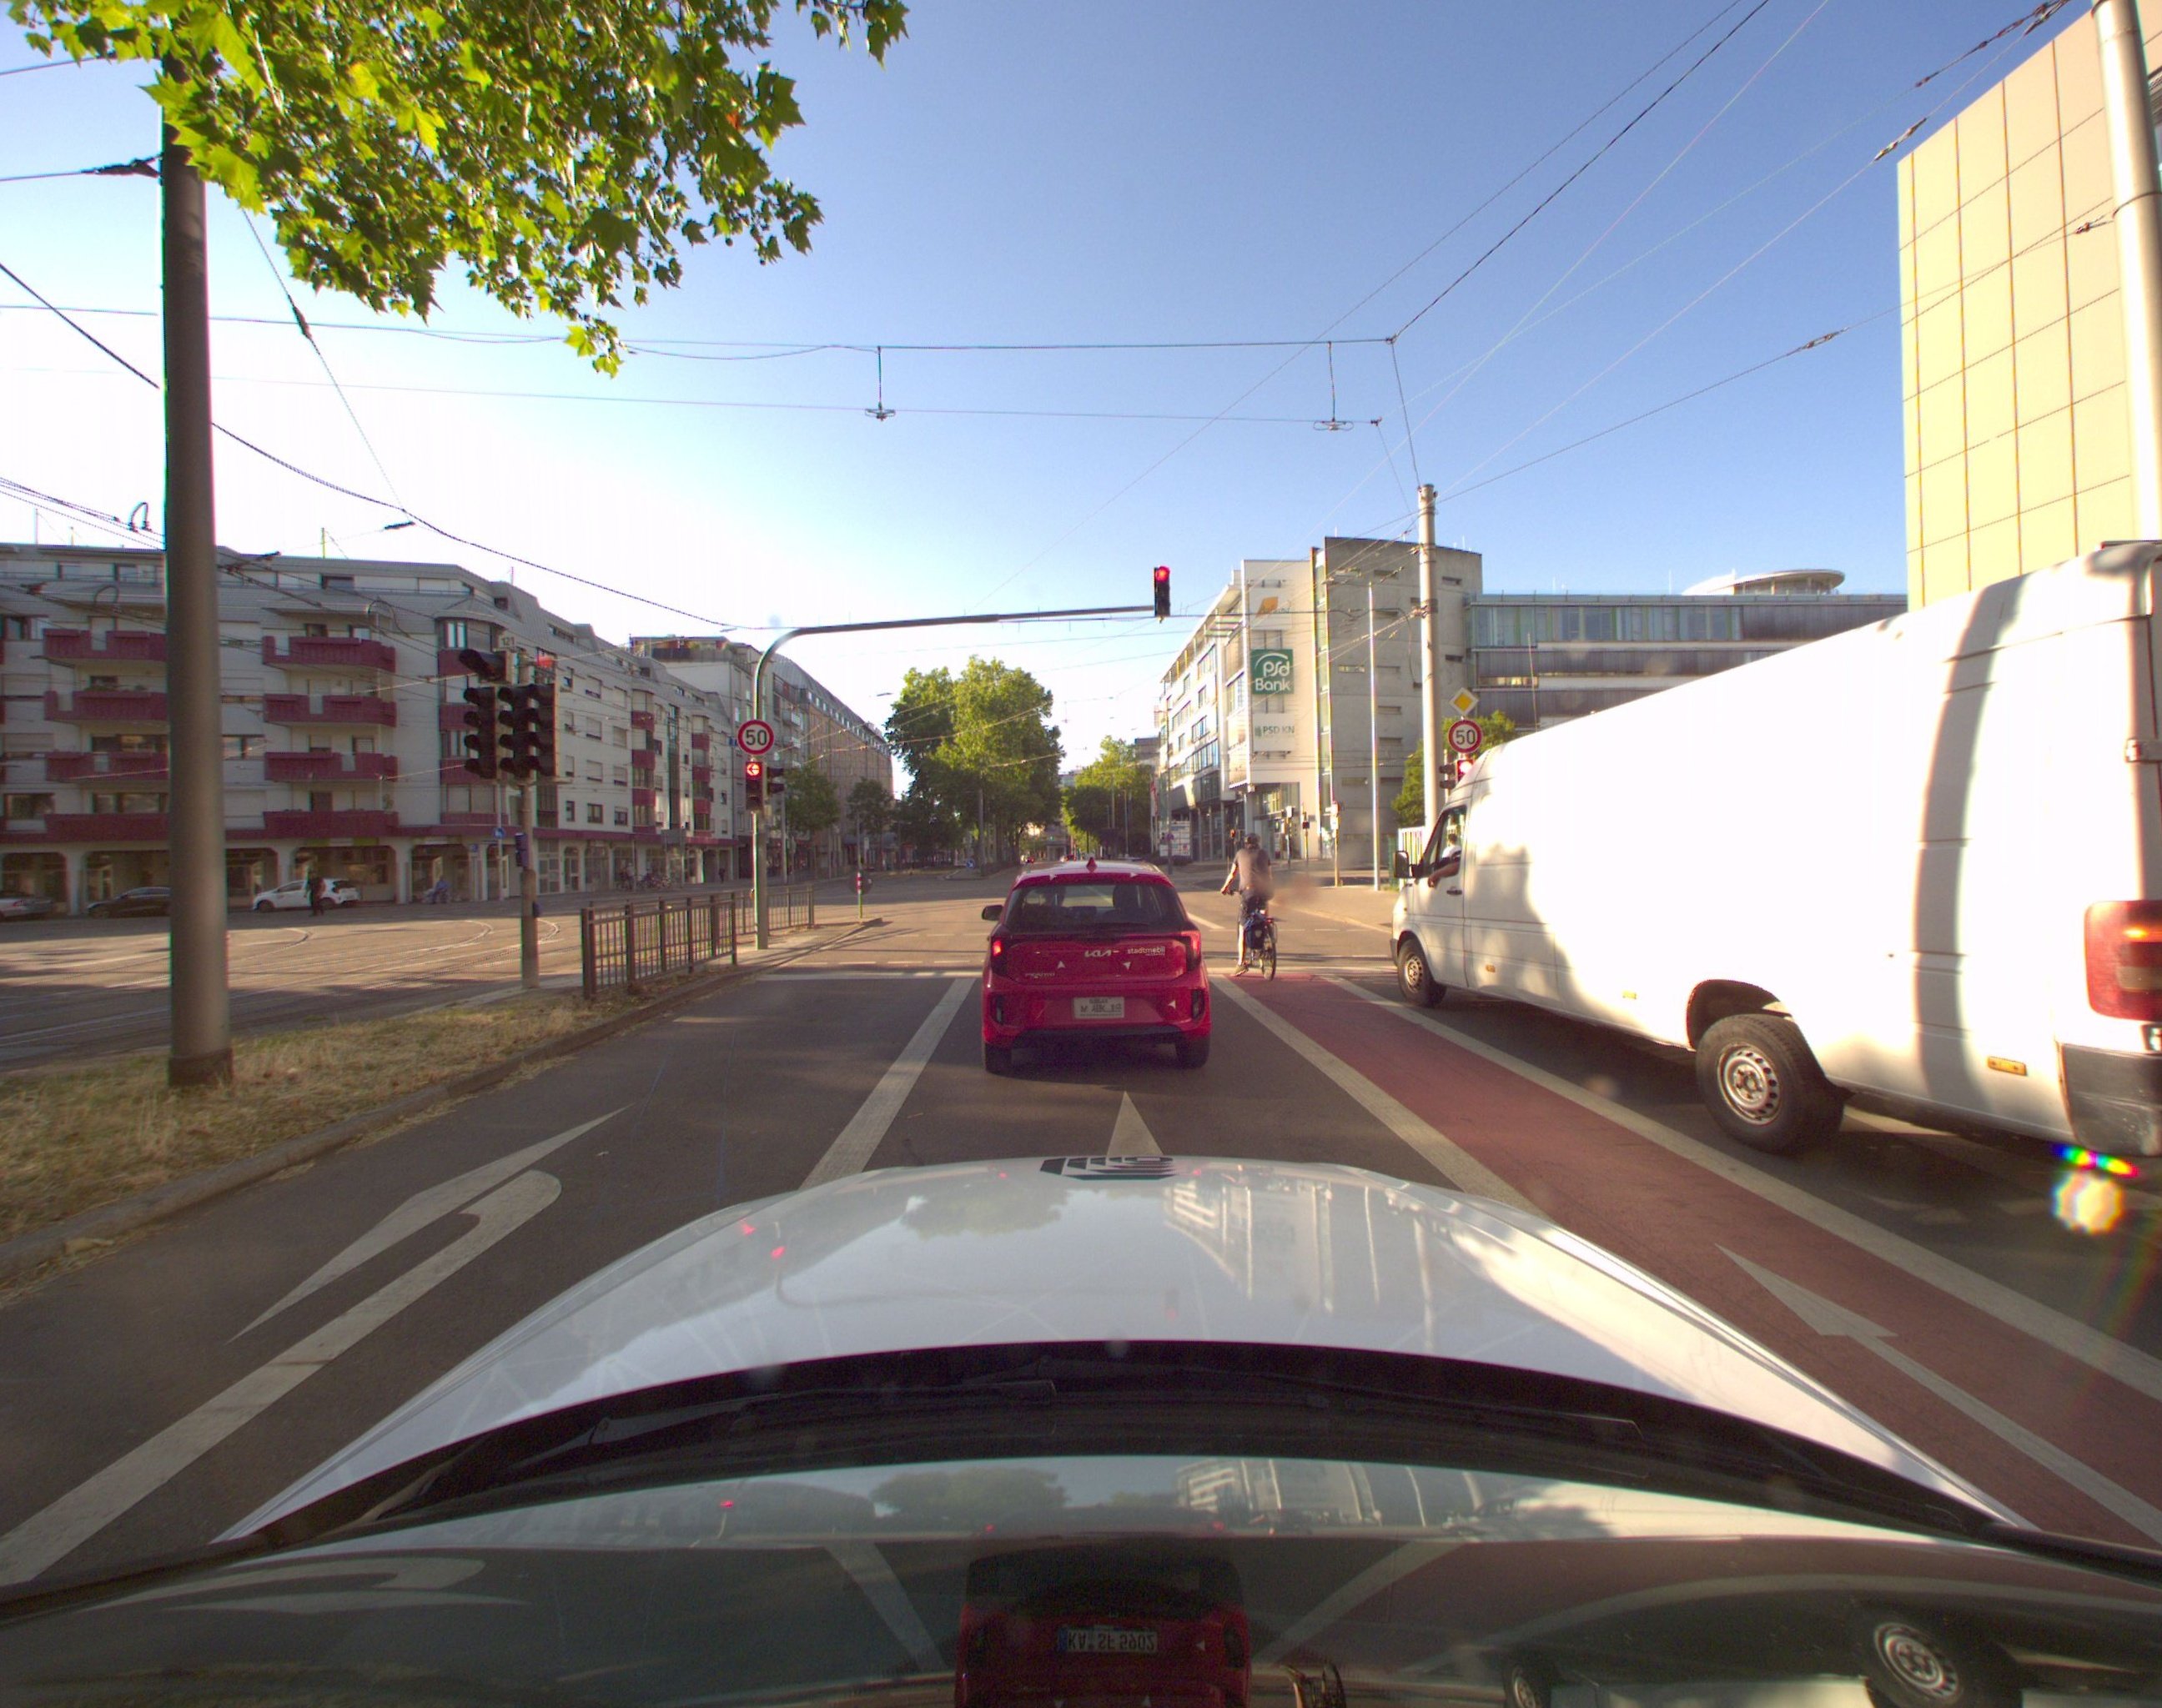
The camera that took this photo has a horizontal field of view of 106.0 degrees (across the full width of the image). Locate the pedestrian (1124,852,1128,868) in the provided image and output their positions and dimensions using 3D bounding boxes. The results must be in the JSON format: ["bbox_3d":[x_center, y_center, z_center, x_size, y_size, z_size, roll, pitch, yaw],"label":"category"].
[{"bbox_3d":[4.532,0.616,82.443,0.293,1.562,0.302,-2,0,-2],"label":"pedestrian"}]

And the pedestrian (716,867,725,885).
[{"bbox_3d":[-30.403,1.852,68.722,0.510,1.459,0.526,-2,0,-10],"label":"pedestrian"}]

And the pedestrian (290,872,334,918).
[{"bbox_3d":[-29.466,1.555,31.222,0.708,1.662,1.031,-2,0,-8],"label":"pedestrian"}]

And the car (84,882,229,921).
[{"bbox_3d":[-42.428,2.147,37.479,3.995,1.464,1.792,-3,0,-16],"label":"car"}]

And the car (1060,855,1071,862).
[{"bbox_3d":[-3.443,0.976,181.107,1.882,1.528,4.422,-3,0,-6],"label":"car"}]

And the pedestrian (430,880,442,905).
[{"bbox_3d":[-32.486,1.950,41.001,0.303,1.214,0.318,-2,0,-8],"label":"pedestrian"}]

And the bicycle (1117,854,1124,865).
[{"bbox_3d":[4.258,0.583,87.876,0.789,1.161,2.502,-2,0,3],"label":"bicycle"}]

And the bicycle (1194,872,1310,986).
[{"bbox_3d":[2.109,0.882,10.391,0.743,1.224,2.149,0,0,-9],"label":"bicycle"}]

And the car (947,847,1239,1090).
[{"bbox_3d":[-0.001,0.724,7.083,1.835,1.489,3.712,-2,0,-3],"label":"car"}]

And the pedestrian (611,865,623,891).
[{"bbox_3d":[-31.213,1.612,54.775,0.509,1.699,0.527,-2,0,-5],"label":"pedestrian"}]

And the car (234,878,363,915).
[{"bbox_3d":[-37.271,1.994,38.883,3.994,1.464,1.792,-3,0,-15],"label":"car"}]

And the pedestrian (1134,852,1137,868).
[{"bbox_3d":[5.511,0.599,82.611,0.293,1.562,0.315,-2,0,4],"label":"pedestrian"}]

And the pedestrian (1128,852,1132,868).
[{"bbox_3d":[4.965,0.608,82.498,0.293,1.562,0.356,-2,0,-1],"label":"pedestrian"}]

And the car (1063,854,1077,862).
[{"bbox_3d":[-2.288,0.835,166.751,2.474,1.528,4.424,-3,0,-5],"label":"car"}]

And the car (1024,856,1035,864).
[{"bbox_3d":[-11.220,1.258,176.146,2.056,1.654,3.482,-2,0,-8],"label":"car"}]

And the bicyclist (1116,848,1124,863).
[{"bbox_3d":[4.237,0.171,87.869,0.782,1.635,0.639,-2,0,3],"label":"bicyclist"}]

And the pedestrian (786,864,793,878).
[{"bbox_3d":[-32.072,1.881,89.650,0.509,1.459,0.527,-2,0,-5],"label":"pedestrian"}]

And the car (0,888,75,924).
[{"bbox_3d":[-48.332,2.385,36.204,4.263,1.464,1.793,-3,0,-14],"label":"car"}]

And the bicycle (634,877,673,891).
[{"bbox_3d":[-27.872,1.967,53.107,2.167,0.824,0.526,-2,0,-7],"label":"bicycle"}]

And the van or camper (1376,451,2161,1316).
[{"bbox_3d":[4.436,0.096,5.675,2.263,2.733,6.341,1,0,-2],"label":"van or camper"}]

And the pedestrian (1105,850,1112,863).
[{"bbox_3d":[3.560,0.332,106.141,0.742,1.716,0.746,-2,0,-8],"label":"pedestrian"}]

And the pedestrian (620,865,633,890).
[{"bbox_3d":[-30.617,1.578,54.861,0.509,1.699,0.527,-2,0,-5],"label":"pedestrian"}]

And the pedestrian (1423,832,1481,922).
[{"bbox_3d":[7.500,0.449,16.492,0.783,1.748,0.772,-2,0,2],"label":"pedestrian"}]

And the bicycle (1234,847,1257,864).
[{"bbox_3d":[15.171,0.145,75.101,1.931,1.443,0.574,-2,0,-5],"label":"bicycle"}]

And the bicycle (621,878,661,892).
[{"bbox_3d":[-27.938,1.980,51.744,2.167,0.787,0.491,-2,0,-7],"label":"bicycle"}]

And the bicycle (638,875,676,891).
[{"bbox_3d":[-27.952,1.922,53.746,2.167,0.951,0.491,-2,0,-7],"label":"bicycle"}]

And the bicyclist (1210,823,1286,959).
[{"bbox_3d":[2.116,0.448,10.390,0.743,1.669,0.742,0,0,-9],"label":"bicyclist"}]

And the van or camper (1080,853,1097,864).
[{"bbox_3d":[1.224,0.735,132.574,2.143,1.750,4.422,-3,0,-6],"label":"van or camper"}]

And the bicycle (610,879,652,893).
[{"bbox_3d":[-28.152,1.981,50.968,2.167,0.787,0.639,-2,0,-7],"label":"bicycle"}]

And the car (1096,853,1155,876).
[{"bbox_3d":[3.213,0.806,59.355,1.859,1.568,4.222,-2,0,-41],"label":"car"}]
